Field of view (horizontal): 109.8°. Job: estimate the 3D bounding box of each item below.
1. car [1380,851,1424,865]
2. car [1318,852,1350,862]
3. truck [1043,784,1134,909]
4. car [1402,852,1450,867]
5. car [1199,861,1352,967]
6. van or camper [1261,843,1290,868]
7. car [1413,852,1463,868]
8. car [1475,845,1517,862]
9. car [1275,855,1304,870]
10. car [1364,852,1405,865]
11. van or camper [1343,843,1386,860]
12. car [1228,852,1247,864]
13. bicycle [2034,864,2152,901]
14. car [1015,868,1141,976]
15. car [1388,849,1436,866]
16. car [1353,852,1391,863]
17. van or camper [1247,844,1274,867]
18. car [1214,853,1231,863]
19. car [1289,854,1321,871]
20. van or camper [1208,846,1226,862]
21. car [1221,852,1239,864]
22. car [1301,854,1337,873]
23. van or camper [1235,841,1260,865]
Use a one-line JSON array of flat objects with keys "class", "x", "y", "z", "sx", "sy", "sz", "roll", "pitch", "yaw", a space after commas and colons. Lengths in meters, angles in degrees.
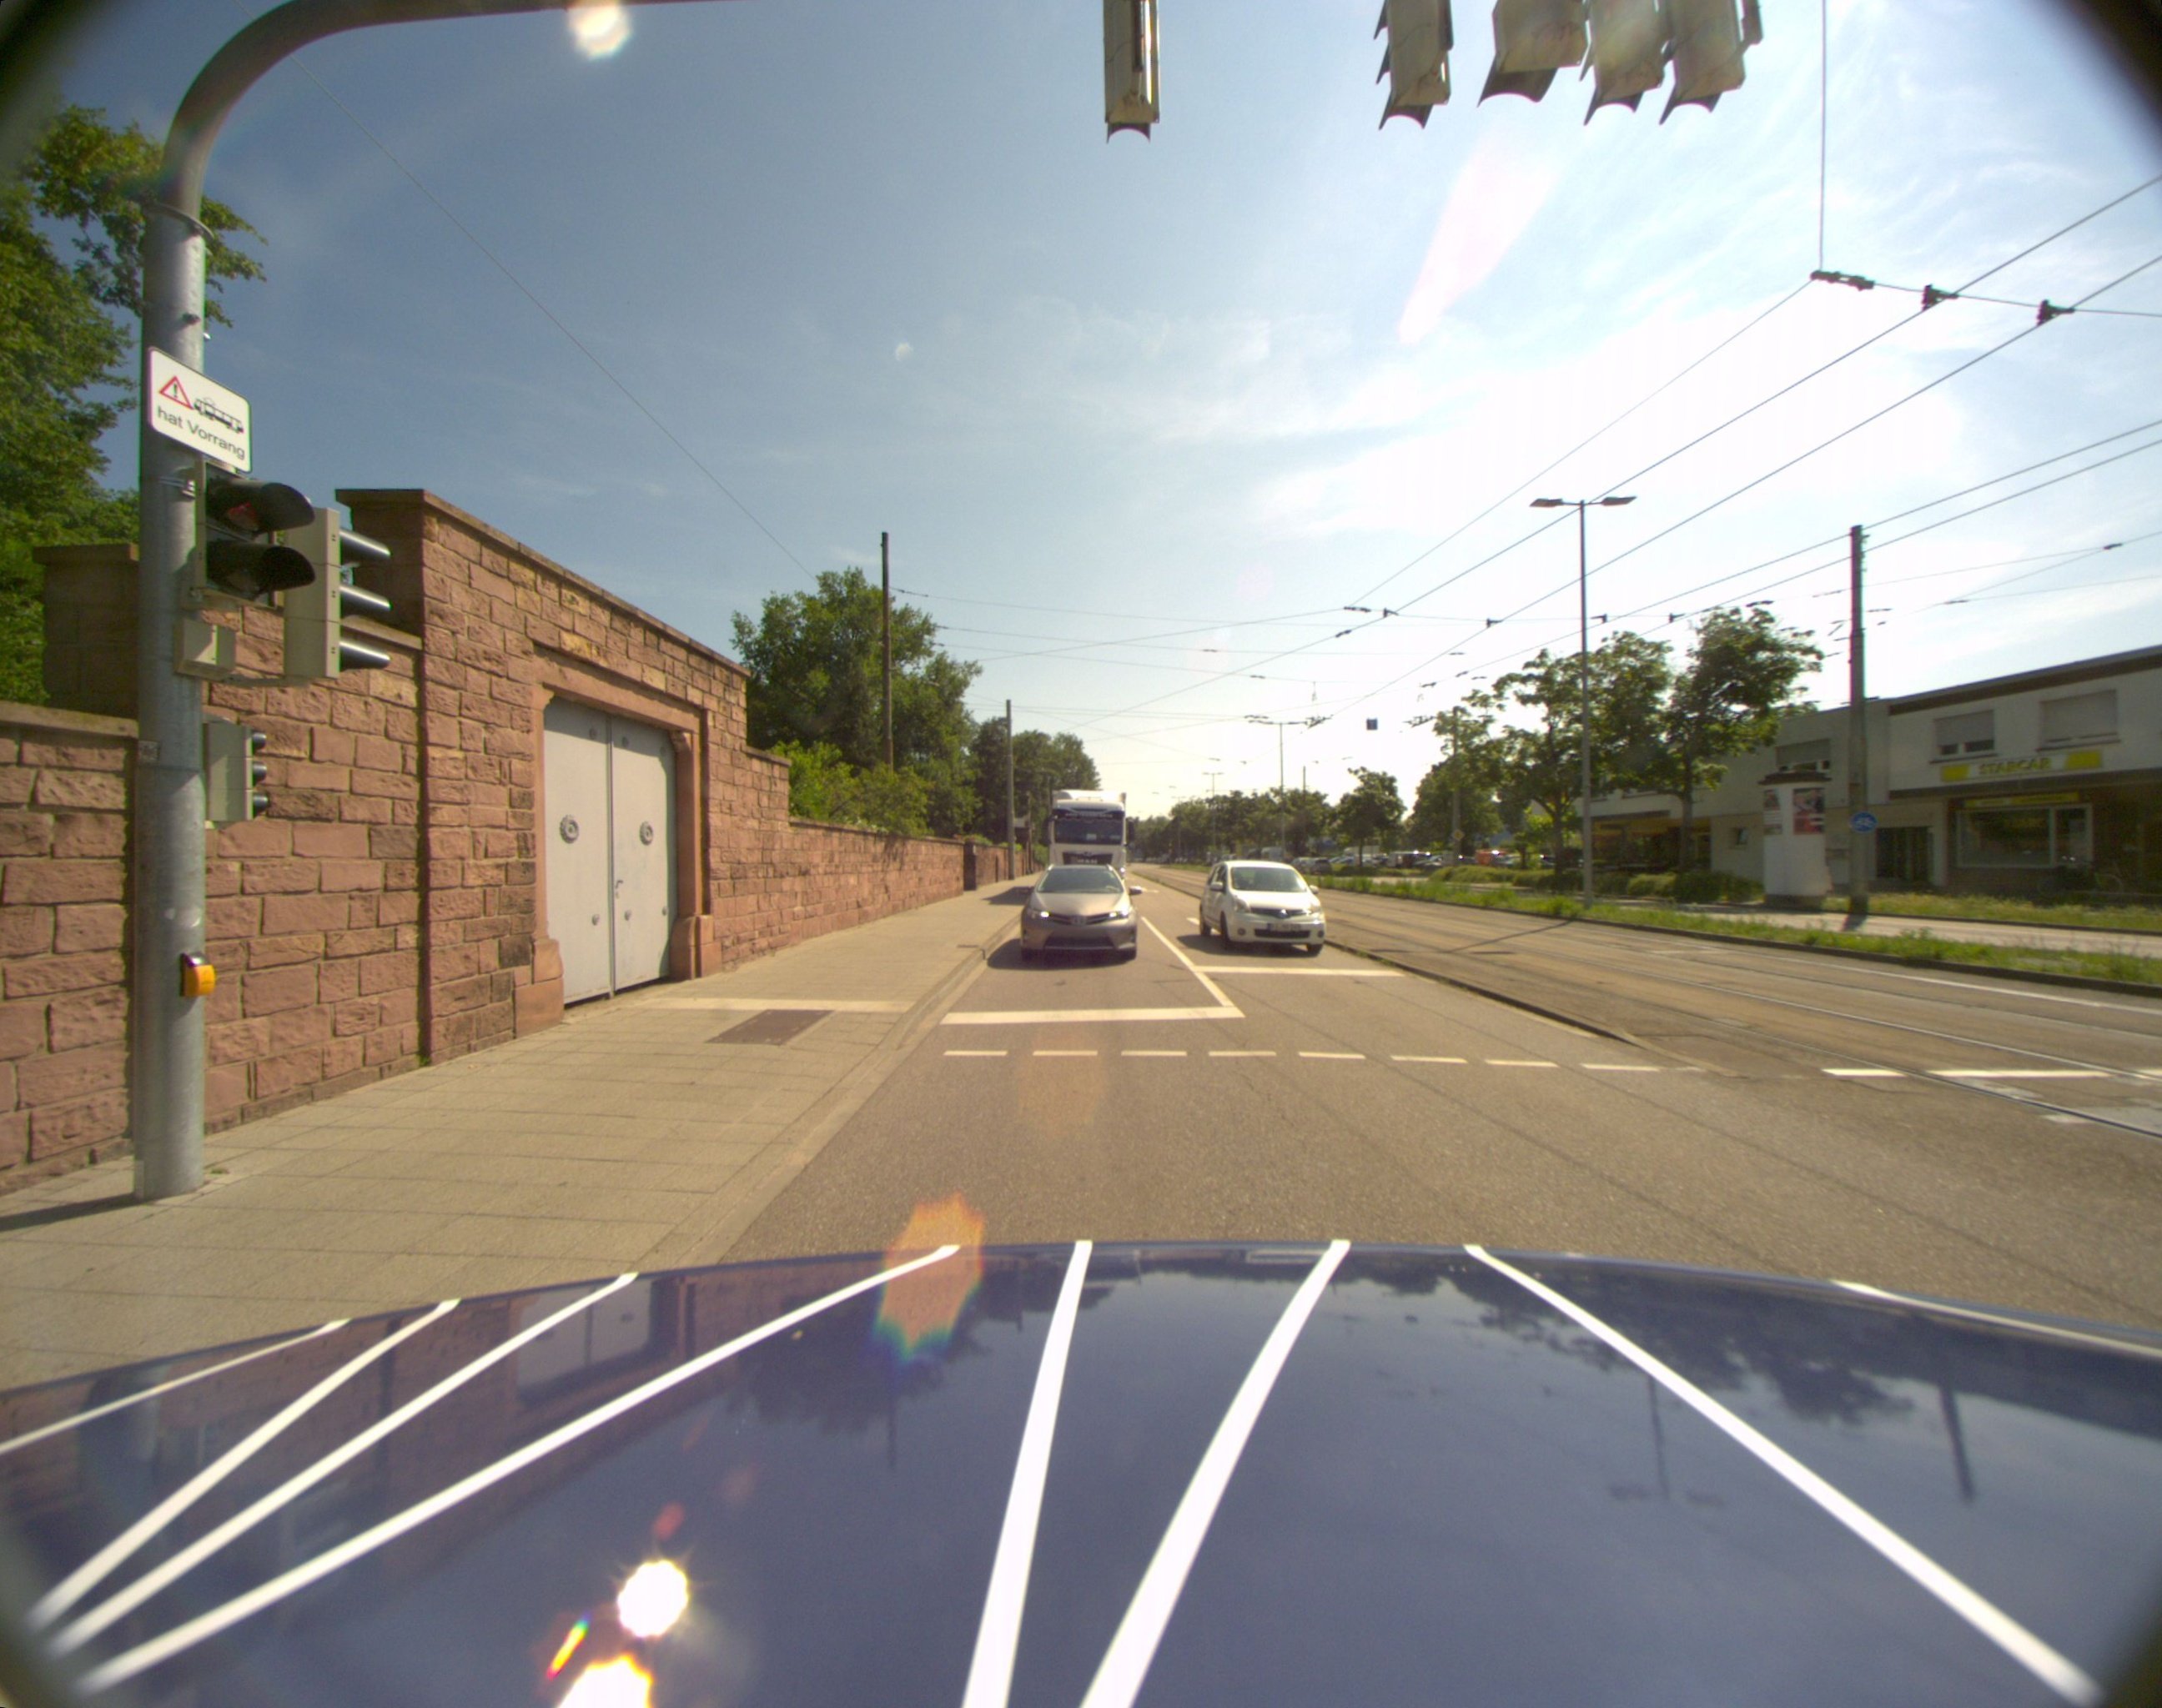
[{"class": "car", "x": 31.278, "y": 0.366, "z": 74.143, "sx": 3.624, "sy": 1.277, "sz": 1.712, "roll": 0, "pitch": 0, "yaw": -1}, {"class": "car", "x": 33.155, "y": 0.370, "z": 99.494, "sx": 3.624, "sy": 1.274, "sz": 1.712, "roll": 0, "pitch": 0, "yaw": -1}, {"class": "truck", "x": 0.339, "y": -0.236, "z": 28.365, "sx": 2.746, "sy": 3.852, "sz": 9.111, "roll": 1, "pitch": 0, "yaw": 1}, {"class": "car", "x": 31.547, "y": 0.495, "z": 69.494, "sx": 3.624, "sy": 1.353, "sz": 1.712, "roll": 0, "pitch": 0, "yaw": -1}, {"class": "car", "x": 3.289, "y": 0.939, "z": 13.680, "sx": 1.770, "sy": 1.552, "sz": 4.067, "roll": 1, "pitch": 0, "yaw": 1}, {"class": "van or camper", "x": 21.252, "y": 0.184, "z": 83.188, "sx": 2.040, "sy": 2.617, "sz": 4.840, "roll": 0, "pitch": 0, "yaw": 1}, {"class": "car", "x": 31.315, "y": 0.509, "z": 66.753, "sx": 3.624, "sy": 1.353, "sz": 1.712, "roll": 0, "pitch": 0, "yaw": -1}, {"class": "car", "x": 44.551, "y": -0.026, "z": 81.554, "sx": 3.624, "sy": 1.767, "sz": 1.712, "roll": 0, "pitch": 0, "yaw": -1}, {"class": "car", "x": 21.413, "y": 0.812, "z": 78.140, "sx": 1.892, "sy": 1.486, "sz": 4.232, "roll": 0, "pitch": 0, "yaw": 1}, {"class": "car", "x": 31.875, "y": 0.474, "z": 79.898, "sx": 3.624, "sy": 1.274, "sz": 1.812, "roll": 0, "pitch": 0, "yaw": -1}, {"class": "van or camper", "x": 46.293, "y": -0.396, "z": 124.210, "sx": 6.081, "sy": 2.714, "sz": 2.300, "roll": 0, "pitch": 0, "yaw": 3}, {"class": "car", "x": 21.972, "y": 0.571, "z": 106.743, "sx": 1.892, "sy": 1.724, "sz": 4.232, "roll": 0, "pitch": 0, "yaw": 1}, {"class": "bicycle", "x": 28.251, "y": 0.774, "z": 21.268, "sx": 0.760, "sy": 0.977, "sz": 1.911, "roll": 0, "pitch": 0, "yaw": 1}, {"class": "car", "x": 0.014, "y": 0.993, "z": 12.816, "sx": 1.742, "sy": 1.424, "sz": 4.462, "roll": 0, "pitch": 0, "yaw": 1}, {"class": "car", "x": 31.330, "y": 0.297, "z": 71.963, "sx": 3.749, "sy": 1.560, "sz": 1.951, "roll": 0, "pitch": 0, "yaw": -1}, {"class": "car", "x": 32.588, "y": 0.377, "z": 85.079, "sx": 3.624, "sy": 1.274, "sz": 1.712, "roll": 0, "pitch": 0, "yaw": -1}, {"class": "van or camper", "x": 21.270, "y": 0.141, "z": 90.245, "sx": 2.040, "sy": 2.617, "sz": 4.840, "roll": 0, "pitch": 0, "yaw": 1}, {"class": "car", "x": 22.222, "y": 0.609, "z": 119.562, "sx": 1.892, "sy": 1.551, "sz": 4.232, "roll": 0, "pitch": 0, "yaw": 1}, {"class": "car", "x": 21.345, "y": 0.777, "z": 72.603, "sx": 1.892, "sy": 1.551, "sz": 4.285, "roll": 0, "pitch": 0, "yaw": 1}, {"class": "van or camper", "x": 22.484, "y": 0.042, "z": 126.028, "sx": 2.114, "sy": 2.604, "sz": 5.452, "roll": 1, "pitch": 0, "yaw": 1}, {"class": "car", "x": 22.314, "y": 0.562, "z": 113.677, "sx": 1.892, "sy": 1.757, "sz": 4.232, "roll": 0, "pitch": 0, "yaw": 1}, {"class": "car", "x": 21.142, "y": 0.814, "z": 67.662, "sx": 1.892, "sy": 1.486, "sz": 4.286, "roll": -3, "pitch": 0, "yaw": 2}, {"class": "van or camper", "x": 21.433, "y": -0.081, "z": 98.136, "sx": 2.128, "sy": 2.967, "sz": 5.281, "roll": 0, "pitch": 0, "yaw": 1}]
